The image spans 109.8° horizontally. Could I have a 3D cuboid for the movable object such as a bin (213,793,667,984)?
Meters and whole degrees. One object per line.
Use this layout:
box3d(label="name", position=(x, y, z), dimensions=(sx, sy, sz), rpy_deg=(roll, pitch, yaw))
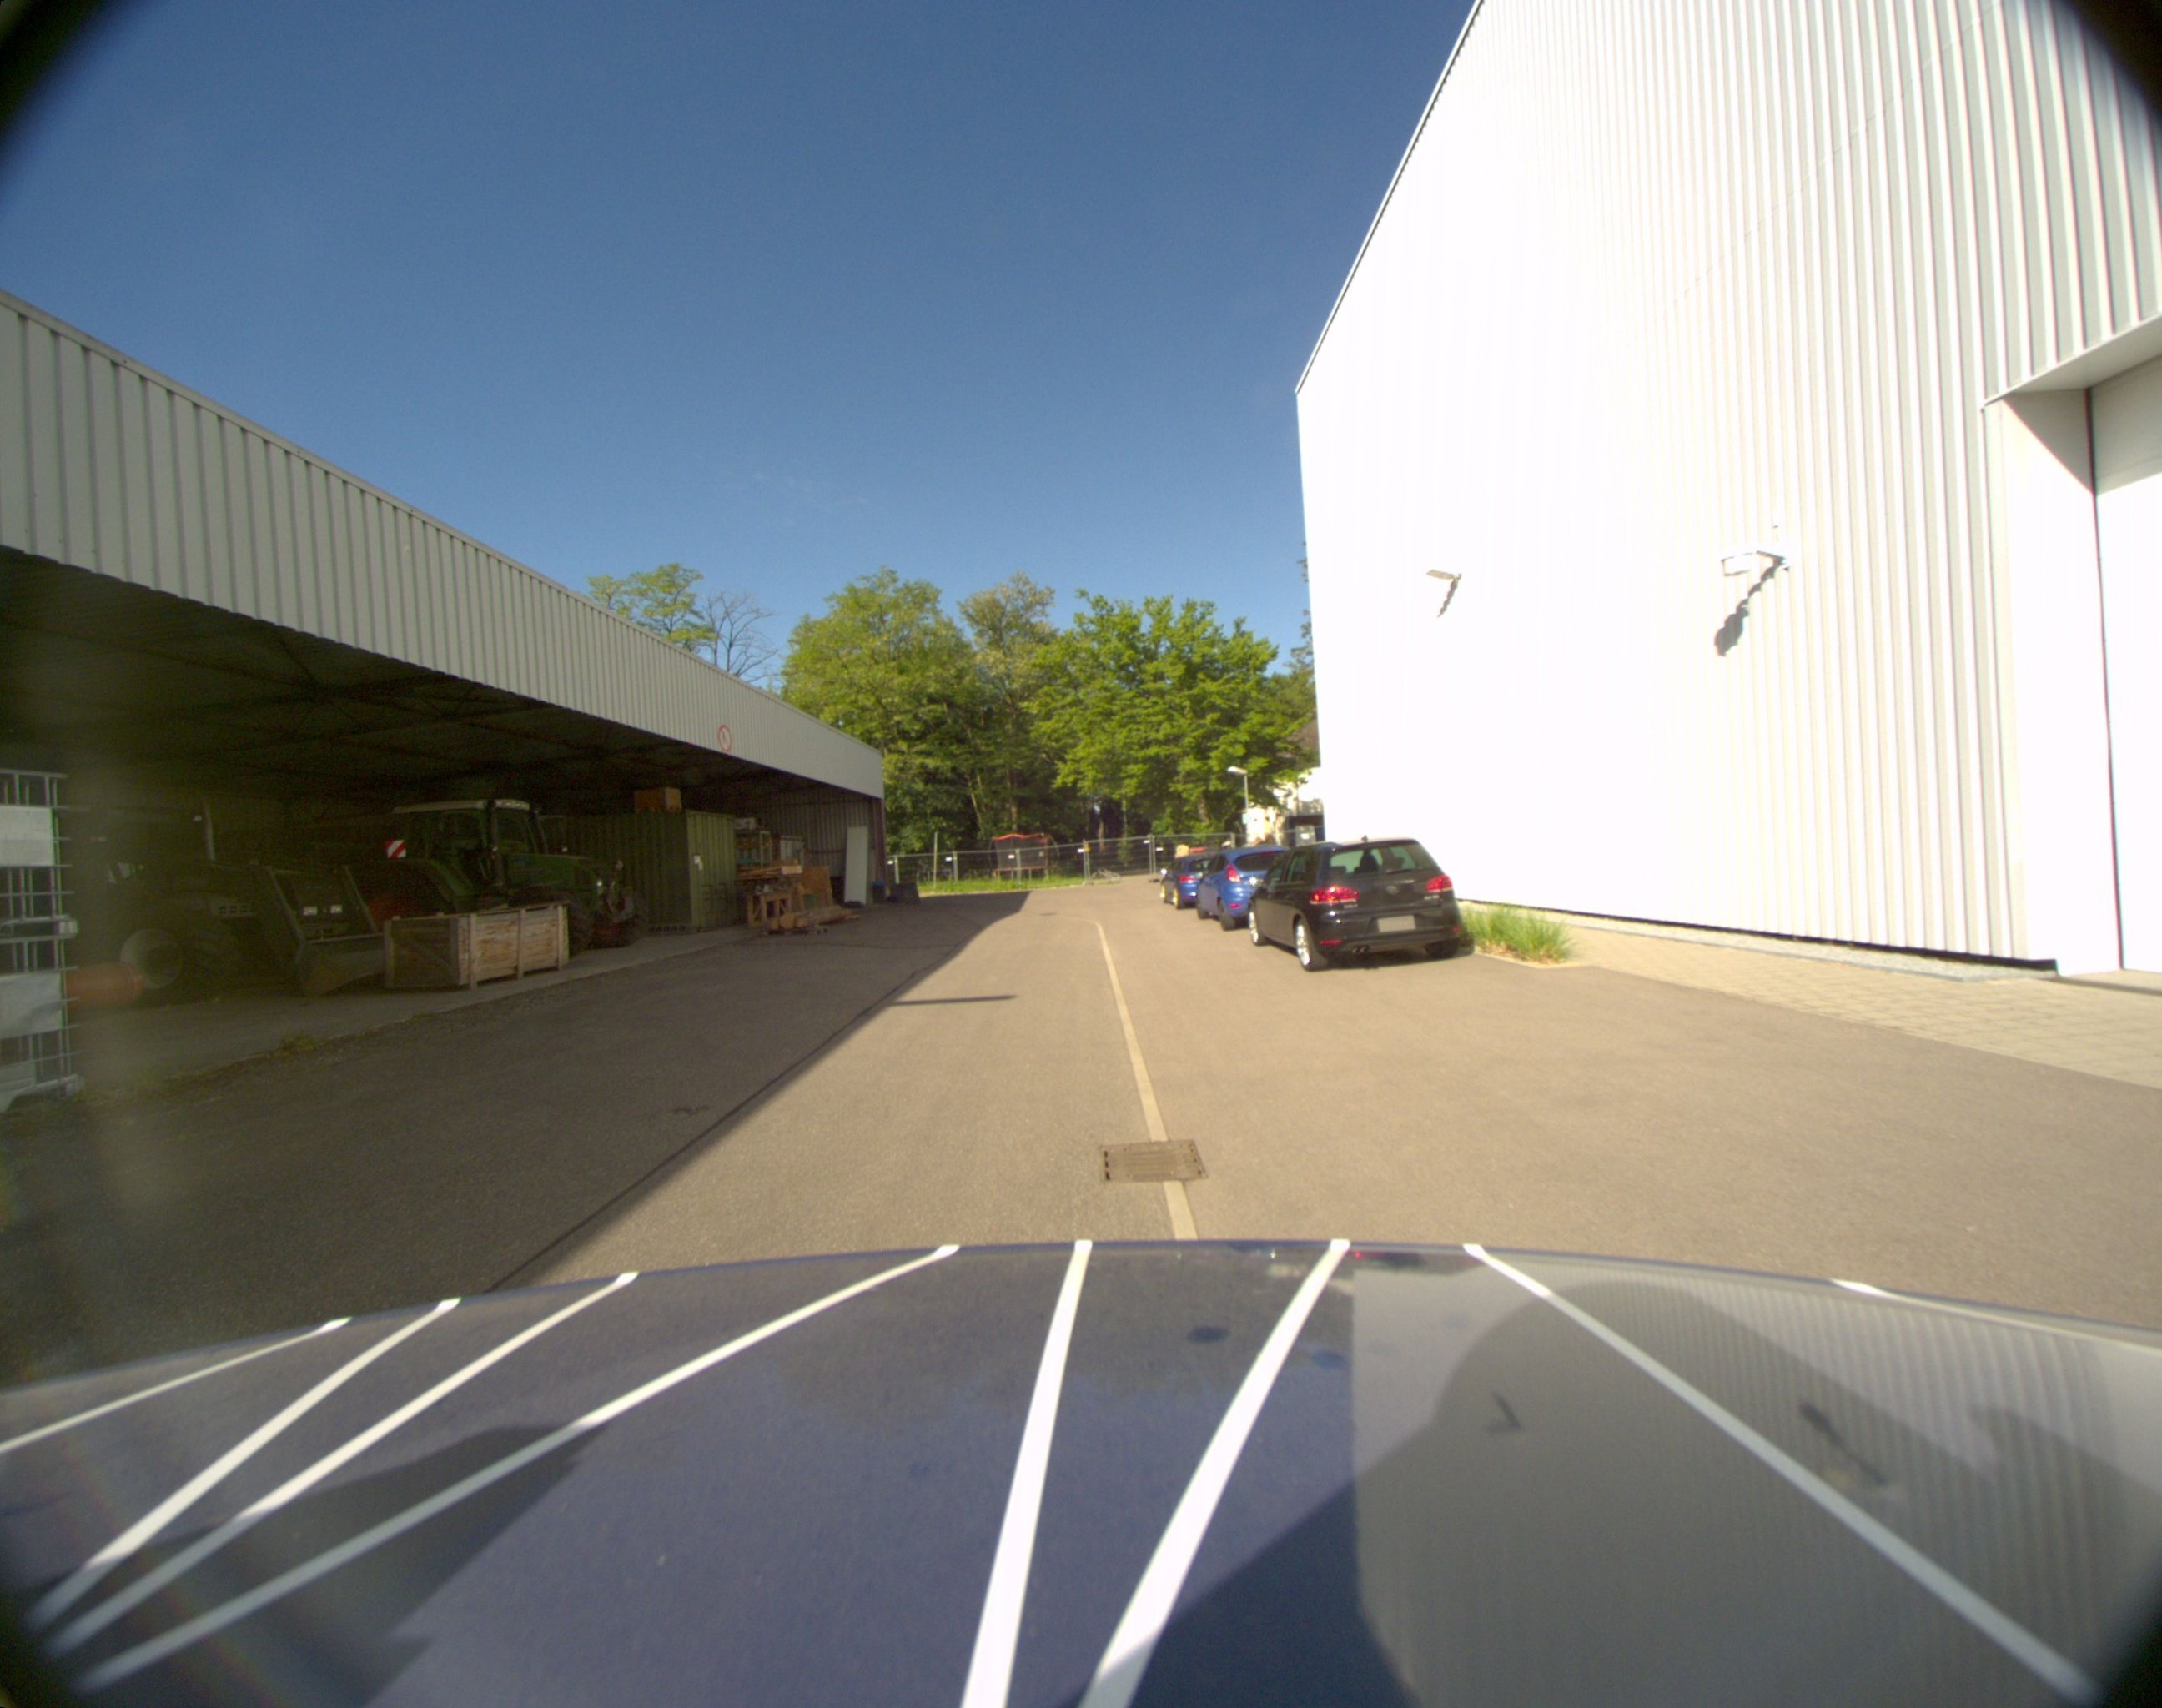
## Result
box3d(label="movable object such as a bin", position=(-11.405, 0.579, 14.014), dimensions=(5.848, 2.908, 2.820), rpy_deg=(-3, 0, 1))

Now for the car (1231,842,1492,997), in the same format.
box3d(label="car", position=(3.334, 0.689, 10.042), dimensions=(1.761, 1.437, 4.315), rpy_deg=(-6, 0, 1))

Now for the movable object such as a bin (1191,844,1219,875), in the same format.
box3d(label="movable object such as a bin", position=(6.096, 0.275, 37.351), dimensions=(1.141, 1.469, 1.280), rpy_deg=(-2, -1, 1))

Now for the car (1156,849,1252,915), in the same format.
box3d(label="car", position=(3.162, 0.690, 20.245), dimensions=(1.716, 1.440, 3.798), rpy_deg=(-5, 0, -1))

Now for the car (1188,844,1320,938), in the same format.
box3d(label="car", position=(3.202, 0.645, 14.734), dimensions=(1.552, 1.479, 3.522), rpy_deg=(-5, 0, -1))

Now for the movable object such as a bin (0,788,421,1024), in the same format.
box3d(label="movable object such as a bin", position=(-12.759, 0.694, 10.744), dimensions=(4.537, 2.814, 2.497), rpy_deg=(-3, 0, 1))

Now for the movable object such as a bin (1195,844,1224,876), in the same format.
box3d(label="movable object such as a bin", position=(6.076, 0.275, 35.988), dimensions=(1.141, 1.426, 1.289), rpy_deg=(-2, 0, 1))
